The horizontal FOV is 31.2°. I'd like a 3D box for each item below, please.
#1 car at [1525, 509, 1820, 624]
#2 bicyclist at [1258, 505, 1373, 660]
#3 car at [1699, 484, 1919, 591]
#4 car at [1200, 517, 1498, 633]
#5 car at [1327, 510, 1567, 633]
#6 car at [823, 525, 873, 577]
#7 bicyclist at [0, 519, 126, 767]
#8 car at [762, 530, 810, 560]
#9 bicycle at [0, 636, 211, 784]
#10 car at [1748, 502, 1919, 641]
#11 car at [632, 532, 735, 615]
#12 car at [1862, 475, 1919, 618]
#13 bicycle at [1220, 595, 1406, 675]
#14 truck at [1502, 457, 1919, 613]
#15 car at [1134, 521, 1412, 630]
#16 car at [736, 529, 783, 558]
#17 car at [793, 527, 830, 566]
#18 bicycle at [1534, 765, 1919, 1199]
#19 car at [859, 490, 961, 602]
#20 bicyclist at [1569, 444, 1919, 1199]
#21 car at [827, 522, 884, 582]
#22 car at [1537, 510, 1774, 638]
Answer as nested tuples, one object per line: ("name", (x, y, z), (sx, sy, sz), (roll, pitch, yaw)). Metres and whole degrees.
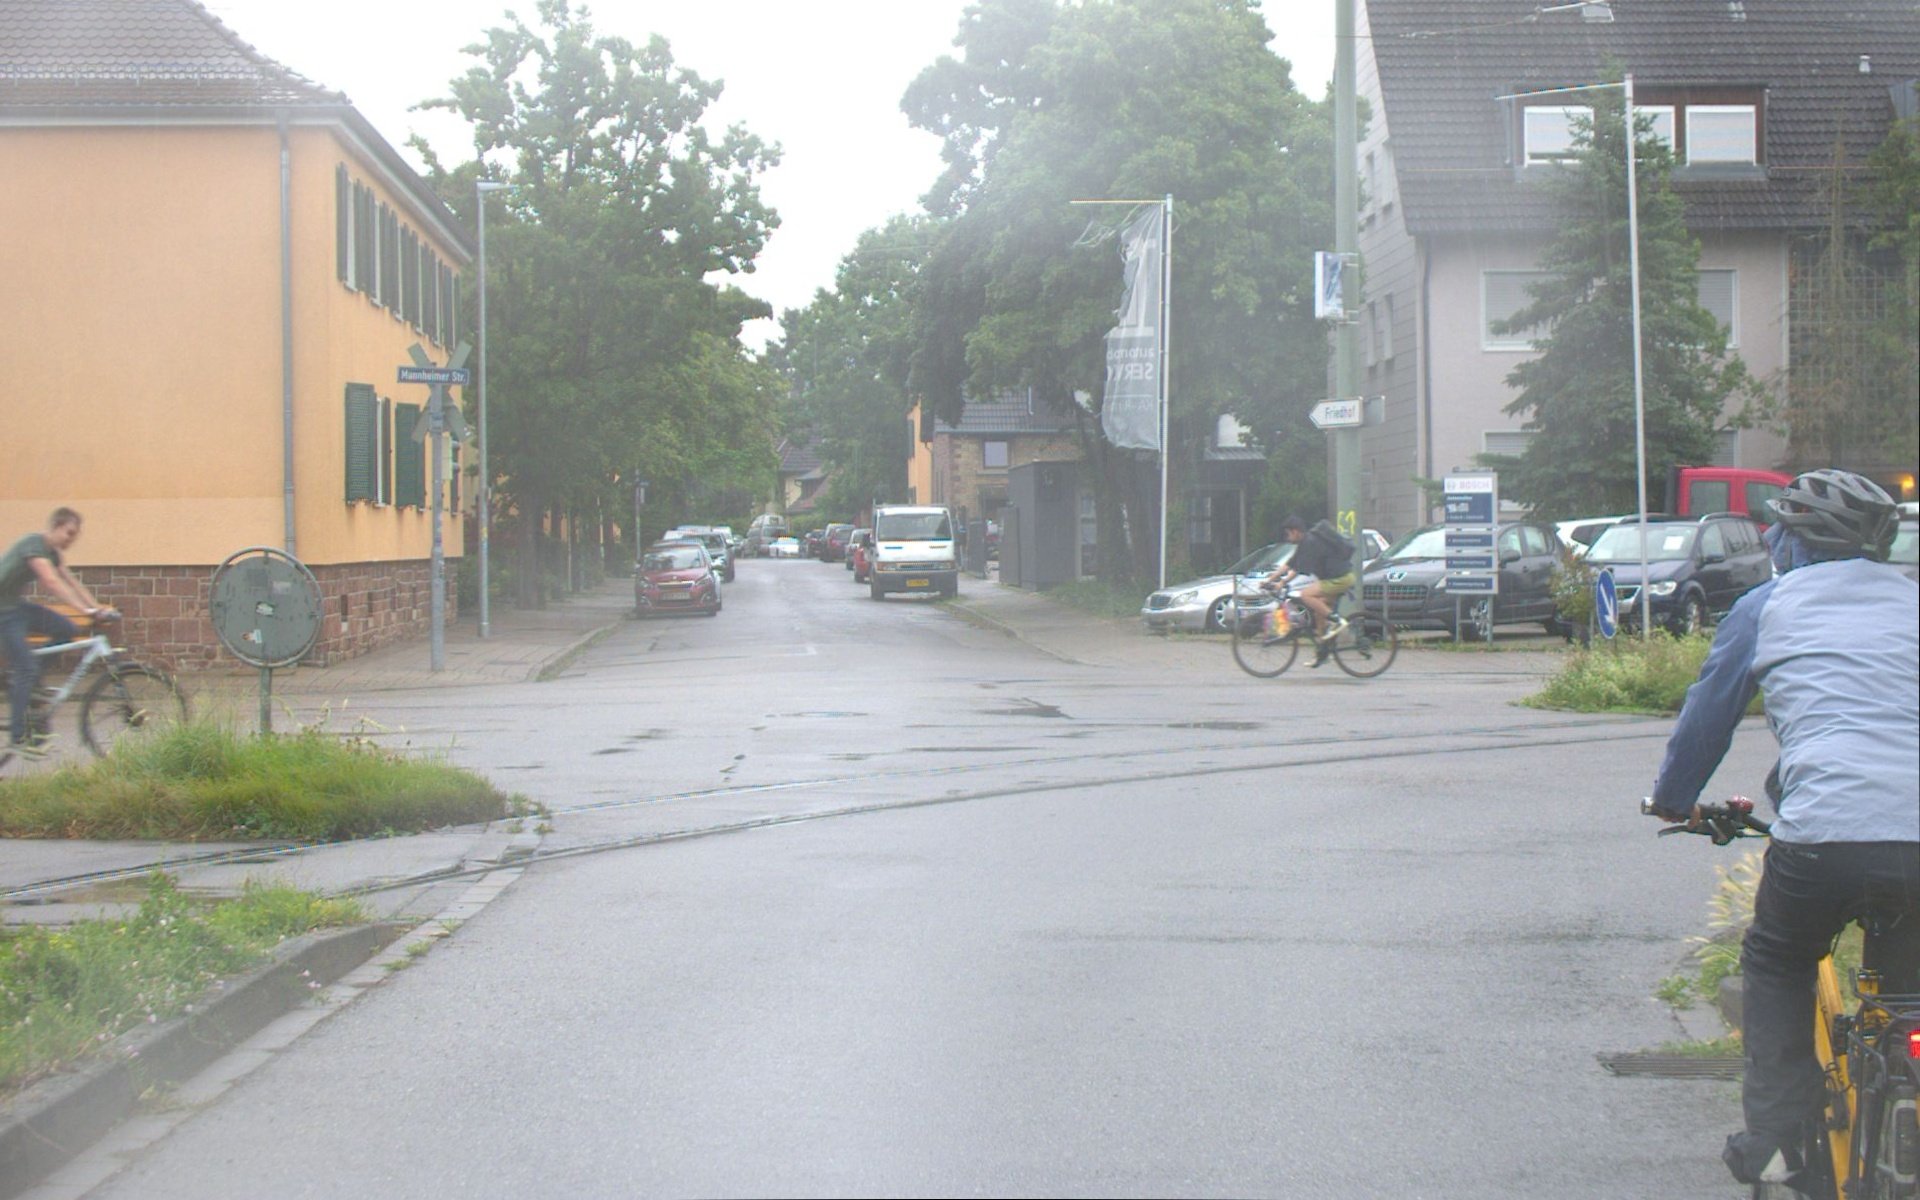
("car", (10.371, -0.475, 49.983), (3.969, 1.592, 1.998), (-1, 0, 19))
("bicyclist", (3.736, -0.189, 36.171), (1.039, 1.592, 0.950), (-1, 1, -2))
("car", (14.534, -1.019, 56.318), (4.432, 1.682, 2.000), (-1, 0, 1))
("car", (5.618, -0.375, 49.759), (3.858, 1.573, 1.808), (-2, 1, -21))
("car", (6.640, -0.402, 46.580), (1.805, 1.573, 3.865), (-1, 1, 31))
("car", (-4.534, -1.980, 138.691), (1.828, 2.007, 4.001), (1, 1, -4))
("bicyclist", (-5.881, 0.267, 22.023), (0.911, 1.553, 0.834), (0, 0, -4))
("car", (-10.246, -3.268, 202.623), (1.828, 1.691, 4.033), (1, 1, -18))
("bicycle", (-5.866, 0.696, 22.030), (1.979, 0.909, 0.824), (0, 0, -4))
("car", (11.860, -0.385, 44.645), (1.997, 1.711, 3.993), (-1, 1, 32))
("car", (-5.581, -0.538, 69.794), (1.993, 1.612, 4.001), (0, 1, -3))
("car", (15.411, -0.774, 49.275), (4.432, 2.007, 2.000), (-1, 0, 1))
("bicycle", (3.707, 0.362, 36.185), (1.813, 0.784, 0.942), (-1, 1, -2))
("truck", (11.571, -0.970, 53.012), (6.088, 2.264, 1.998), (-1, 0, 19))
("car", (4.834, -0.387, 53.182), (3.858, 1.573, 1.808), (-2, 1, -21))
("car", (-12.148, -3.415, 208.026), (1.828, 1.691, 4.033), (1, 1, -18))
("car", (-7.979, -2.882, 184.357), (1.828, 2.007, 4.001), (1, 1, -4))
("bicycle", (1.588, 0.908, 6.300), (0.752, 1.069, 1.927), (-2, 1, 1))
("car", (-1.223, -1.296, 82.024), (2.153, 2.564, 4.134), (1, 1, -4))
("bicyclist", (1.572, 0.470, 6.257), (0.751, 1.480, 0.846), (-2, 1, 1))
("car", (-3.658, -1.670, 119.738), (1.828, 2.007, 4.001), (1, 1, -3))
("car", (9.177, -0.364, 45.163), (1.805, 1.573, 3.865), (-1, 1, 31))
